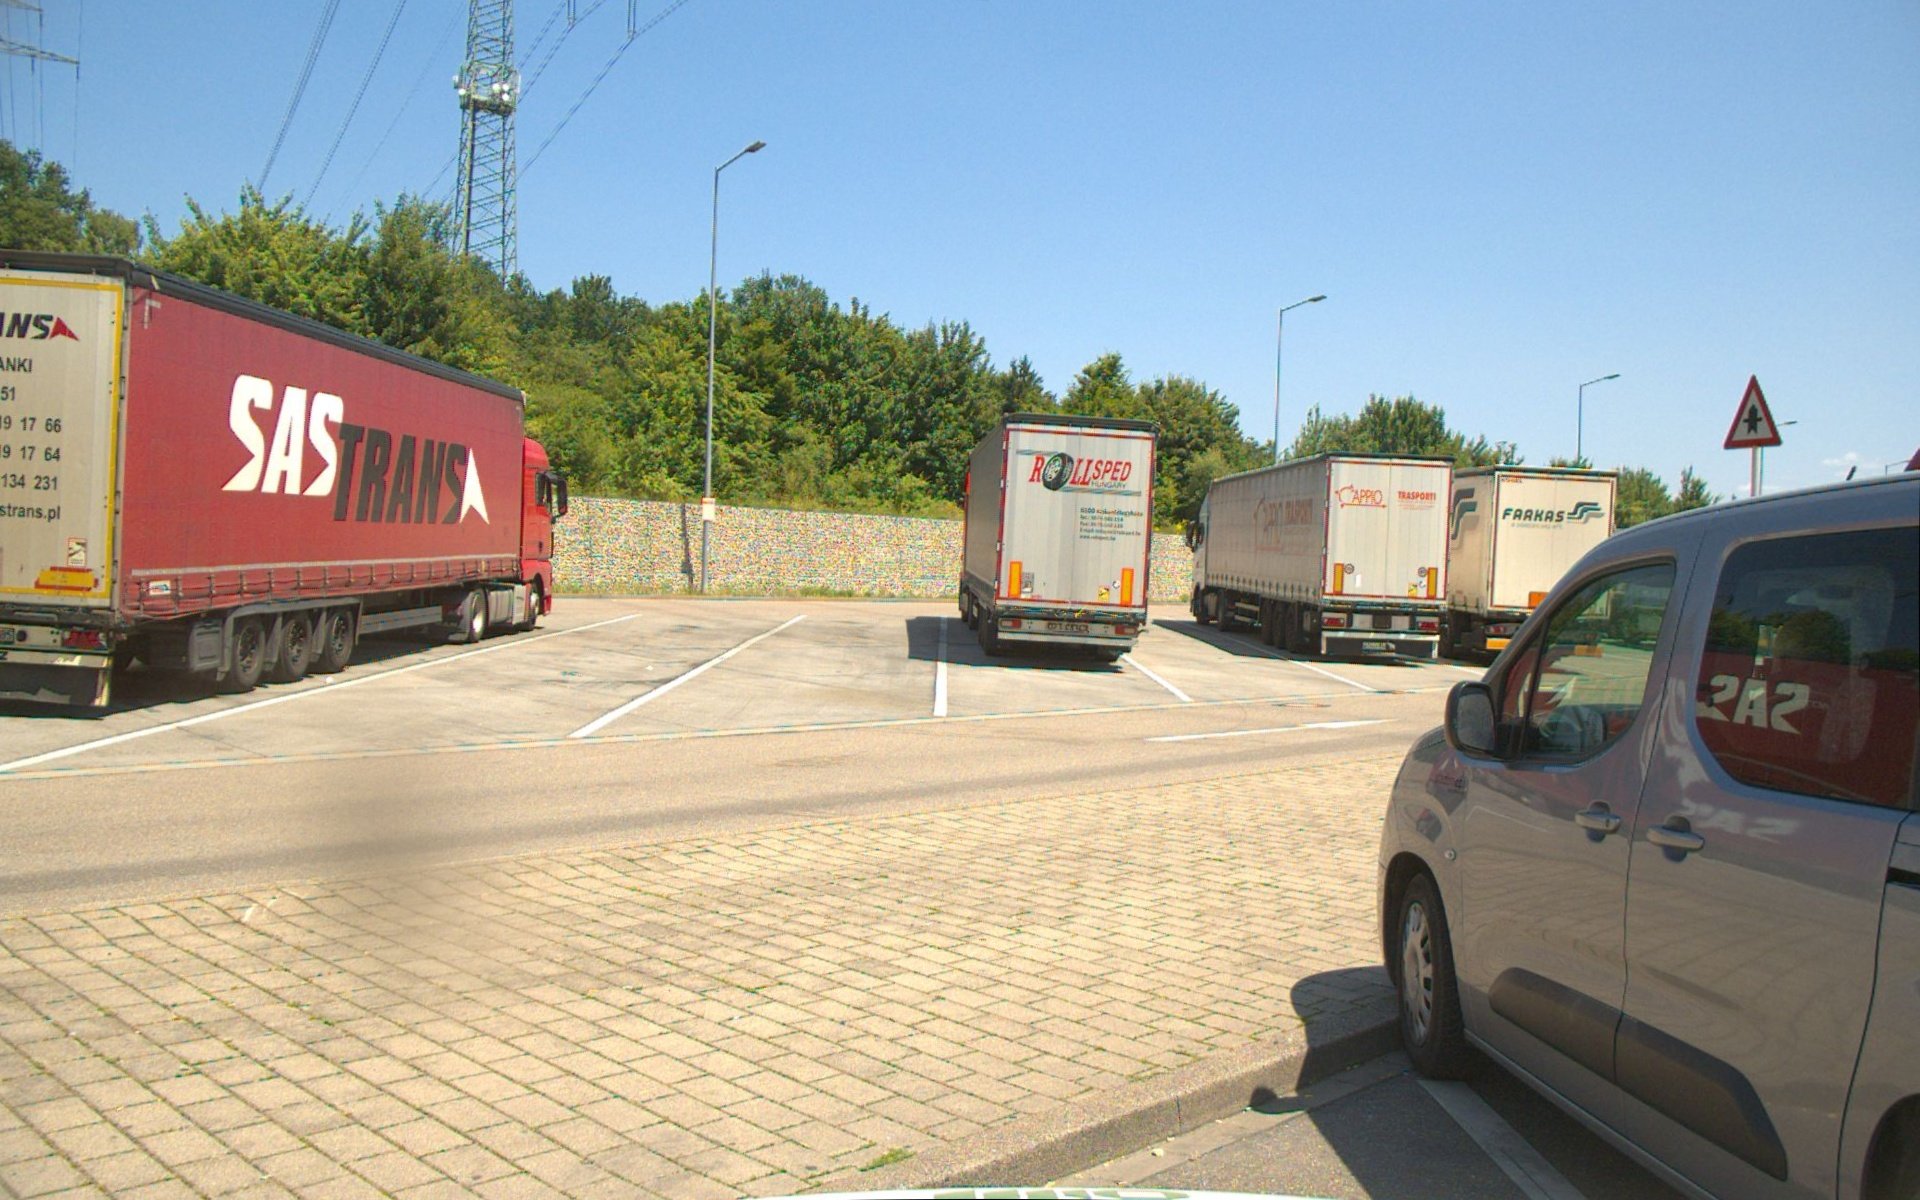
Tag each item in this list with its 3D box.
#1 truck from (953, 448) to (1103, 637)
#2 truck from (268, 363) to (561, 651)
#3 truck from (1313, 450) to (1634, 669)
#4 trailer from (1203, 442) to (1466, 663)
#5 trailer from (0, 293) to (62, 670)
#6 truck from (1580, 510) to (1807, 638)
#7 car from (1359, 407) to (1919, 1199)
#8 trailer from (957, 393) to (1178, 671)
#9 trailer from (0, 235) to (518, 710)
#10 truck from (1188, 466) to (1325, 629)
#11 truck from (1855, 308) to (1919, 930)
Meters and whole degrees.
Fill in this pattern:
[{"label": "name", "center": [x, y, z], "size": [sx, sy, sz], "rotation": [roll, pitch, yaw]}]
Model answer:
[{"label": "truck", "center": [1.463, -1.375, 39.440], "size": [2.965, 3.997, 6.845], "rotation": [2, 2, -2]}, {"label": "truck", "center": [-8.778, -1.417, 27.534], "size": [2.687, 4.152, 6.828], "rotation": [1, 1, -1]}, {"label": "truck", "center": [11.713, -0.953, 39.990], "size": [2.846, 4.195, 14.525], "rotation": [3, 1, -1]}, {"label": "trailer", "center": [8.201, -1.045, 38.606], "size": [2.818, 4.196, 13.569], "rotation": [1, 1, -1]}, {"label": "trailer", "center": [-12.412, -1.307, 15.443], "size": [2.689, 4.337, 9.733], "rotation": [1, 1, 0]}, {"label": "truck", "center": [21.953, -0.804, 50.181], "size": [2.963, 3.497, 8.529], "rotation": [1, 1, -1]}, {"label": "car", "center": [2.431, 0.558, 3.812], "size": [1.790, 1.784, 3.997], "rotation": [1, 1, -4]}, {"label": "trailer", "center": [1.695, -1.311, 32.674], "size": [3.008, 4.301, 12.805], "rotation": [2, 2, -2]}, {"label": "trailer", "center": [-8.684, -1.257, 21.073], "size": [2.694, 4.128, 13.284], "rotation": [1, 1, -1]}, {"label": "truck", "center": [8.068, -1.407, 45.605], "size": [2.701, 4.196, 5.283], "rotation": [1, 1, -1]}, {"label": "truck", "center": [4.977, 0.130, 4.933], "size": [1.952, 2.669, 5.305], "rotation": [1, 1, 3]}]
